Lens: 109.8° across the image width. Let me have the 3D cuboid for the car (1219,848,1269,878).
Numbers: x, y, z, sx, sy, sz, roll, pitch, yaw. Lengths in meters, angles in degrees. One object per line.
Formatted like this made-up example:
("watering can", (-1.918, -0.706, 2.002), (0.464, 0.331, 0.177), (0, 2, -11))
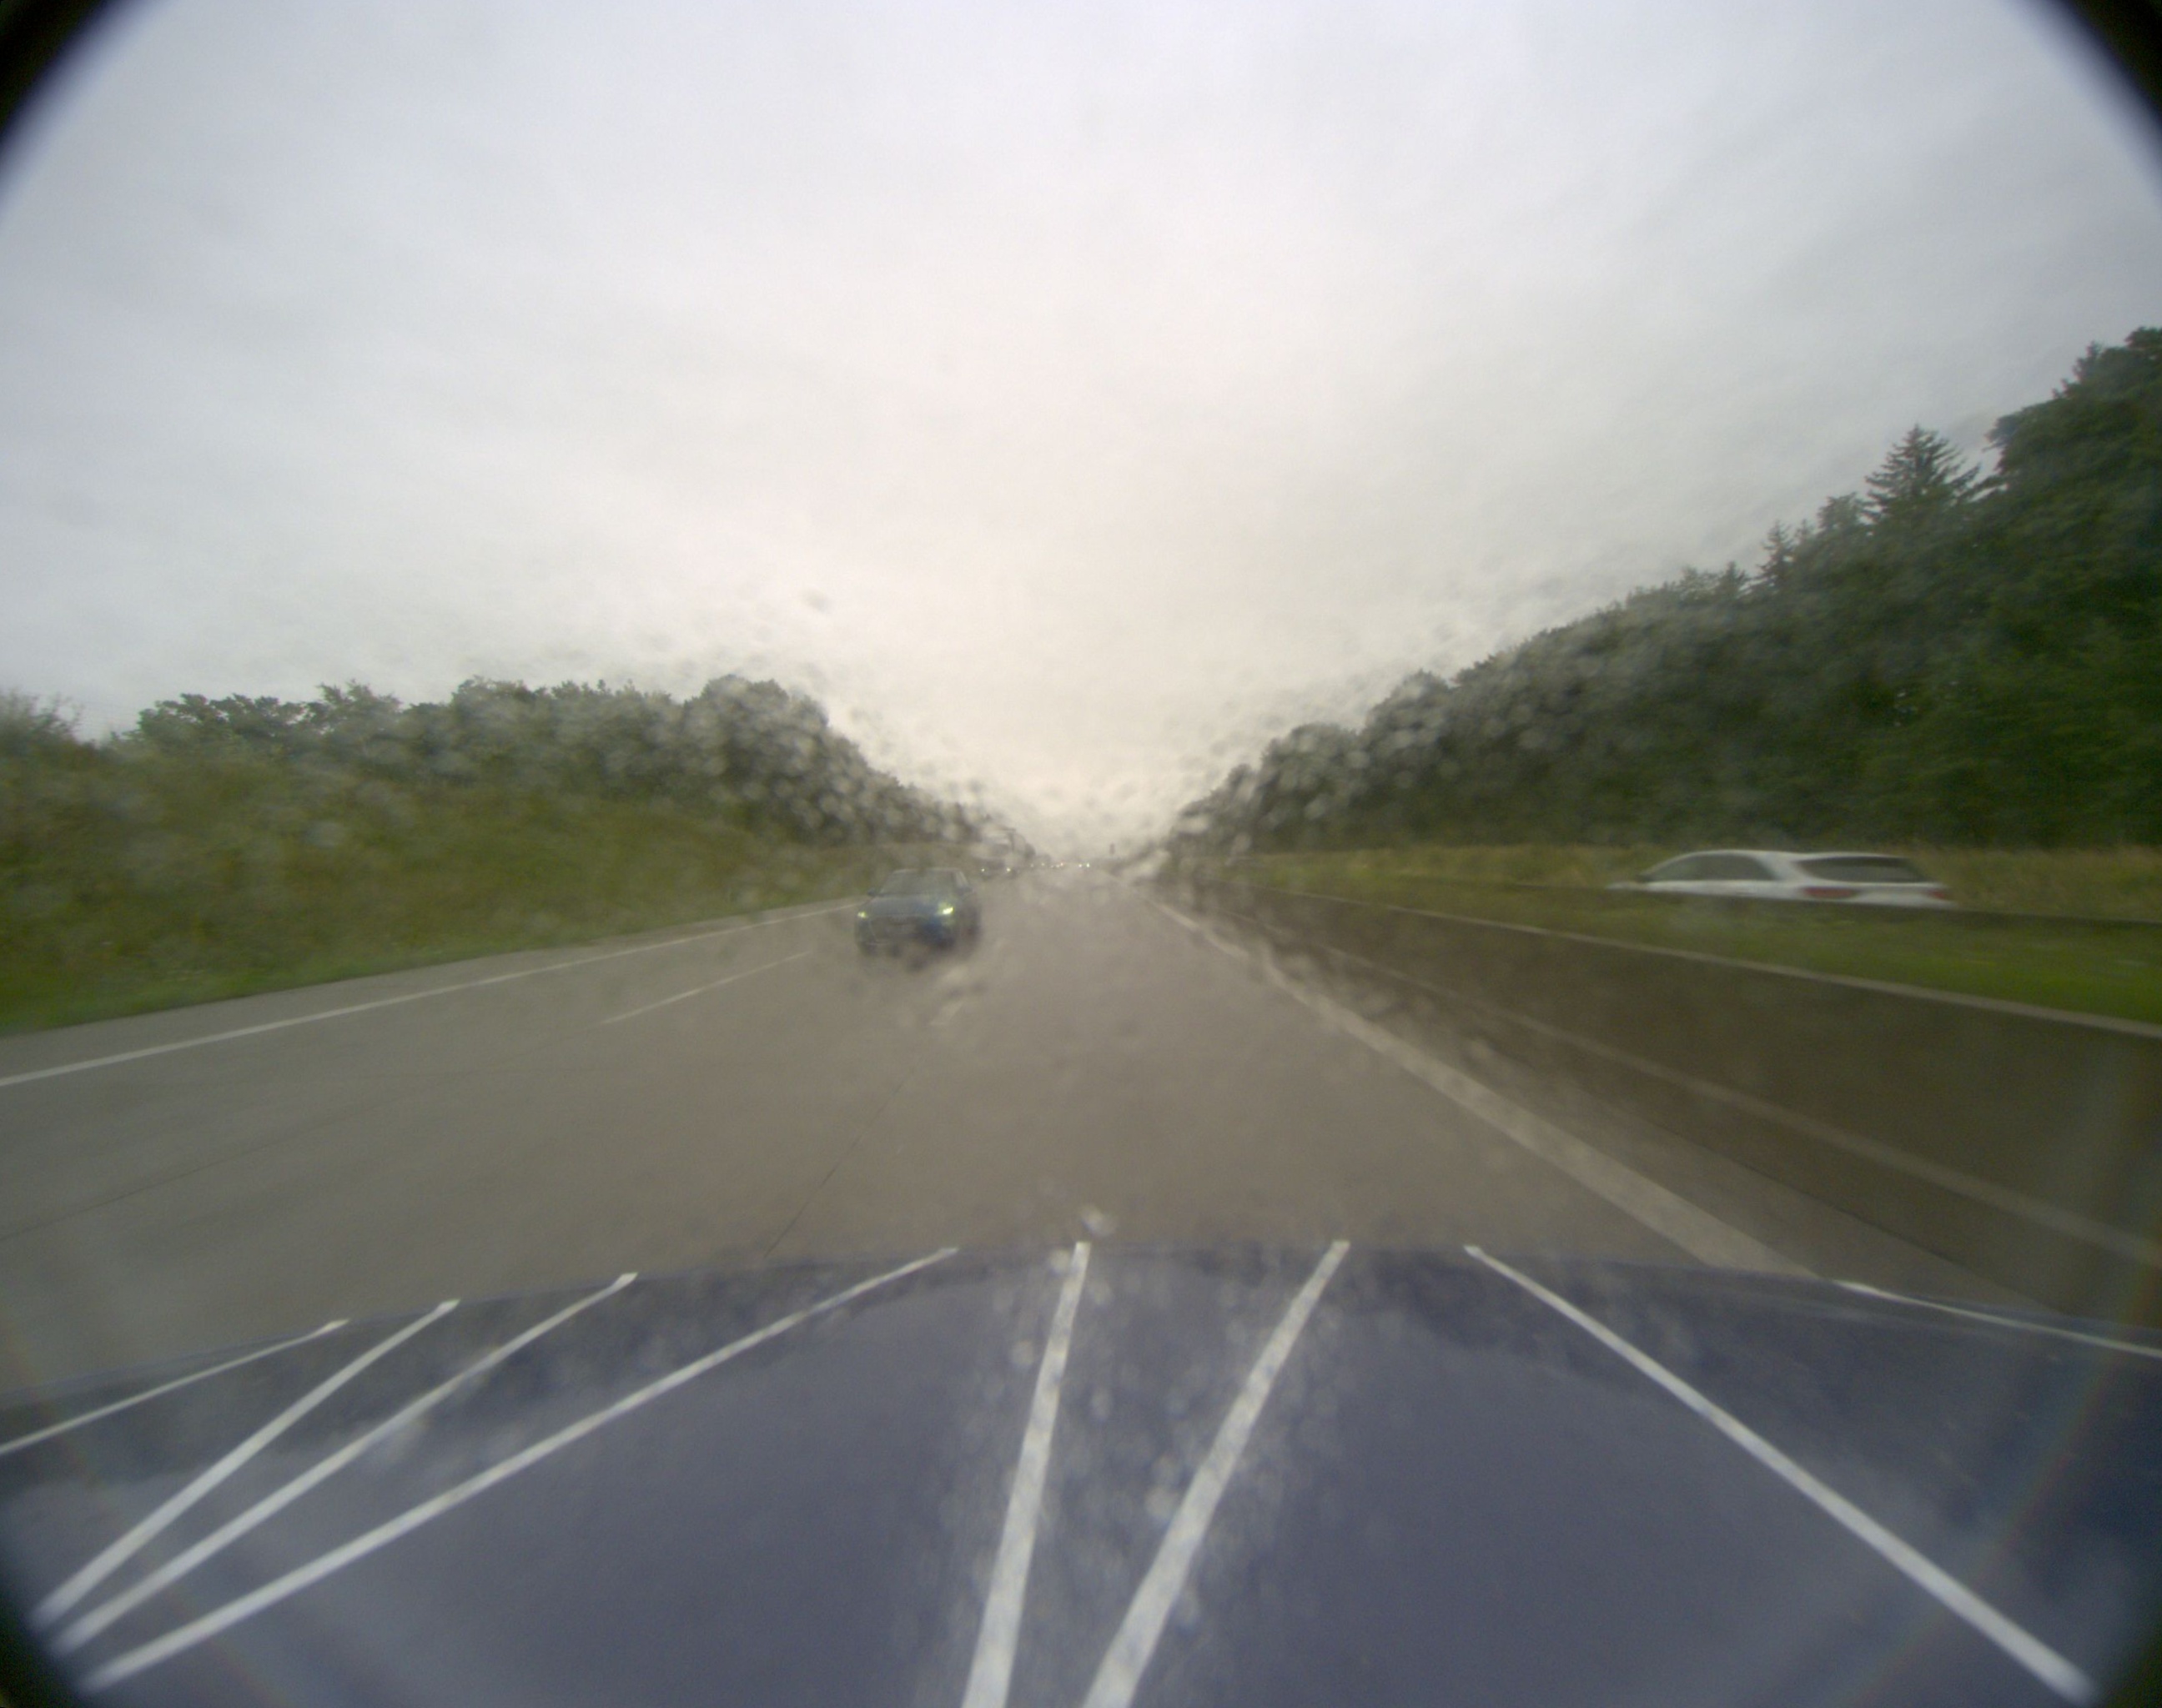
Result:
("car", (8.953, 0.458, 42.132), (1.819, 1.533, 4.346), (-1, 0, 0))

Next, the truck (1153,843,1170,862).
("truck", (16.802, -0.377, 159.334), (2.671, 3.852, 6.434), (-1, 0, -1))

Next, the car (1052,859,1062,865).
("car", (-6.132, 2.092, 196.096), (1.998, 1.575, 5.955), (-3, -1, 2))

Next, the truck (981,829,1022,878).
("truck", (-6.769, 0.002, 65.121), (2.643, 3.930, 5.686), (-3, -1, 1))

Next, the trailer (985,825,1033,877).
("trailer", (-6.679, -0.153, 72.723), (2.713, 4.353, 15.206), (-3, -1, 1))

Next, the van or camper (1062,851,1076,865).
("van or camper", (-2.498, 0.865, 157.984), (2.233, 2.537, 7.950), (-7, 0, 2))

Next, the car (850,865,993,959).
("car", (-2.916, 0.993, 14.939), (1.733, 1.450, 4.672), (-1, 0, 1))

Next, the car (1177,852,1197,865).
("car", (12.988, 0.515, 93.258), (1.816, 1.534, 4.639), (-1, 0, 0))

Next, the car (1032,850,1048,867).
("car", (-6.723, 0.796, 125.039), (1.945, 2.642, 6.588), (-4, -1, 2))

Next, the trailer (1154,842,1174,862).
("trailer", (16.832, -0.325, 154.195), (2.671, 3.948, 11.135), (-1, 0, -1))

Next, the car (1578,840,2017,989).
("car", (8.930, 0.626, 10.147), (1.656, 1.533, 4.454), (-1, 0, 0))

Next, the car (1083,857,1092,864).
("car", (1.378, 1.340, 154.897), (1.733, 1.450, 4.672), (-2, 0, 1))
